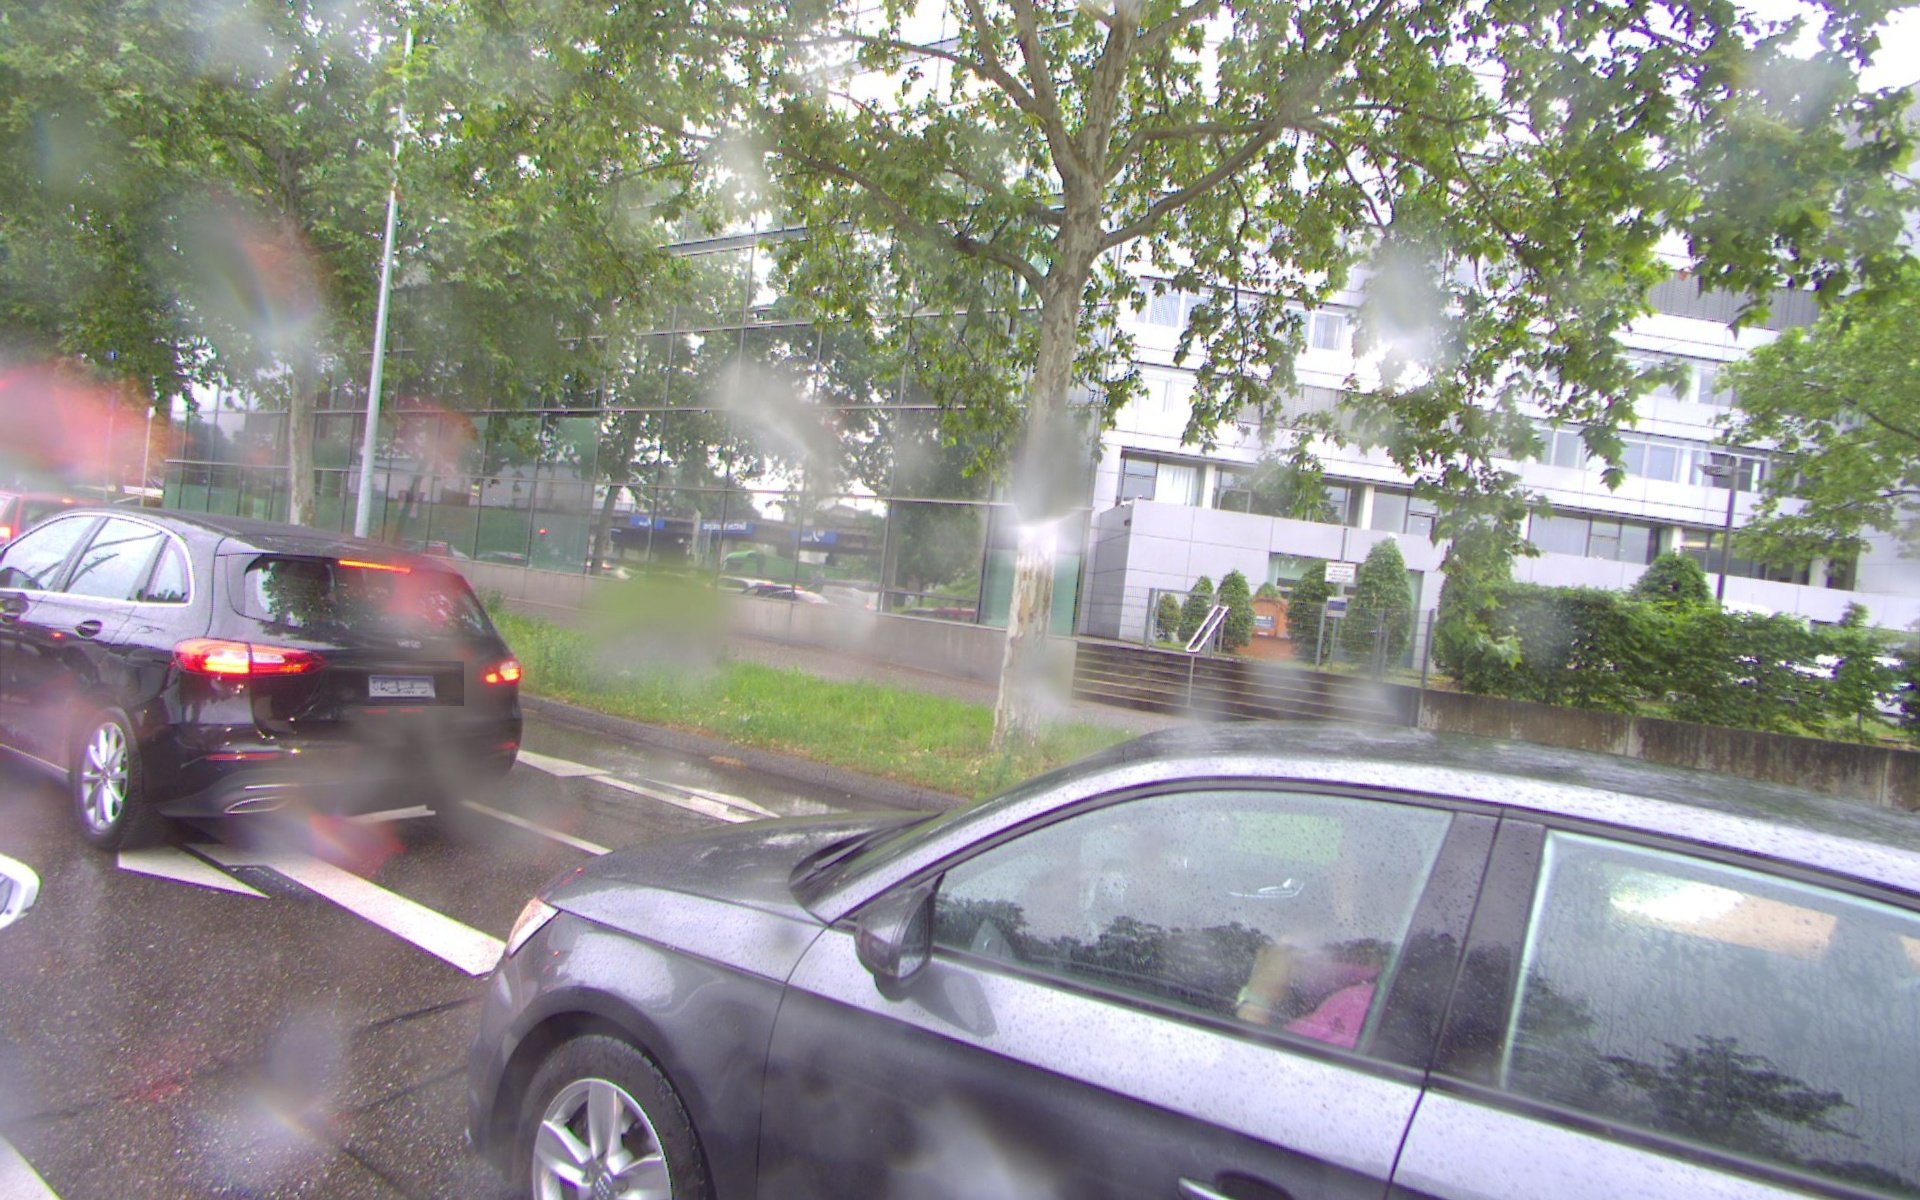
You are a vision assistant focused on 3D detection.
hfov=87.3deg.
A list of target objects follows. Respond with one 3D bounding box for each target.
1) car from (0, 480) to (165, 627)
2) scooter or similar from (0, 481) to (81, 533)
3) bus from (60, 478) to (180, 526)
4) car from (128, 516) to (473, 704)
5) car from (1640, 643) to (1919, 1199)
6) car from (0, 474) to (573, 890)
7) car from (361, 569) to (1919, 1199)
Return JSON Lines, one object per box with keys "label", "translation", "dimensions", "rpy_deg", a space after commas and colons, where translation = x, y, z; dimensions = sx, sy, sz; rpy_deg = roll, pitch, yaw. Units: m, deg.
{"label": "car", "translation": [-13.390, -0.741, 14.373], "dimensions": [4.201, 1.714, 1.714], "rpy_deg": [6, -2, 32]}
{"label": "scooter or similar", "translation": [-54.533, -5.522, 58.152], "dimensions": [5.228, 2.476, 1.893], "rpy_deg": [7, 0, -9]}
{"label": "bus", "translation": [-83.283, -9.617, 100.136], "dimensions": [2.439, 3.465, 11.998], "rpy_deg": [7, 0, -5]}
{"label": "car", "translation": [-6.881, 0.087, 10.445], "dimensions": [3.332, 1.480, 1.572], "rpy_deg": [7, -1, 31]}
{"label": "car", "translation": [4.780, 1.317, 3.195], "dimensions": [4.079, 1.704, 1.679], "rpy_deg": [8, -2, 32]}
{"label": "car", "translation": [-4.351, 0.241, 5.762], "dimensions": [4.022, 1.573, 1.751], "rpy_deg": [7, -1, 31]}
{"label": "car", "translation": [0.664, 0.905, 2.132], "dimensions": [3.718, 1.445, 1.679], "rpy_deg": [7, -1, 31]}
